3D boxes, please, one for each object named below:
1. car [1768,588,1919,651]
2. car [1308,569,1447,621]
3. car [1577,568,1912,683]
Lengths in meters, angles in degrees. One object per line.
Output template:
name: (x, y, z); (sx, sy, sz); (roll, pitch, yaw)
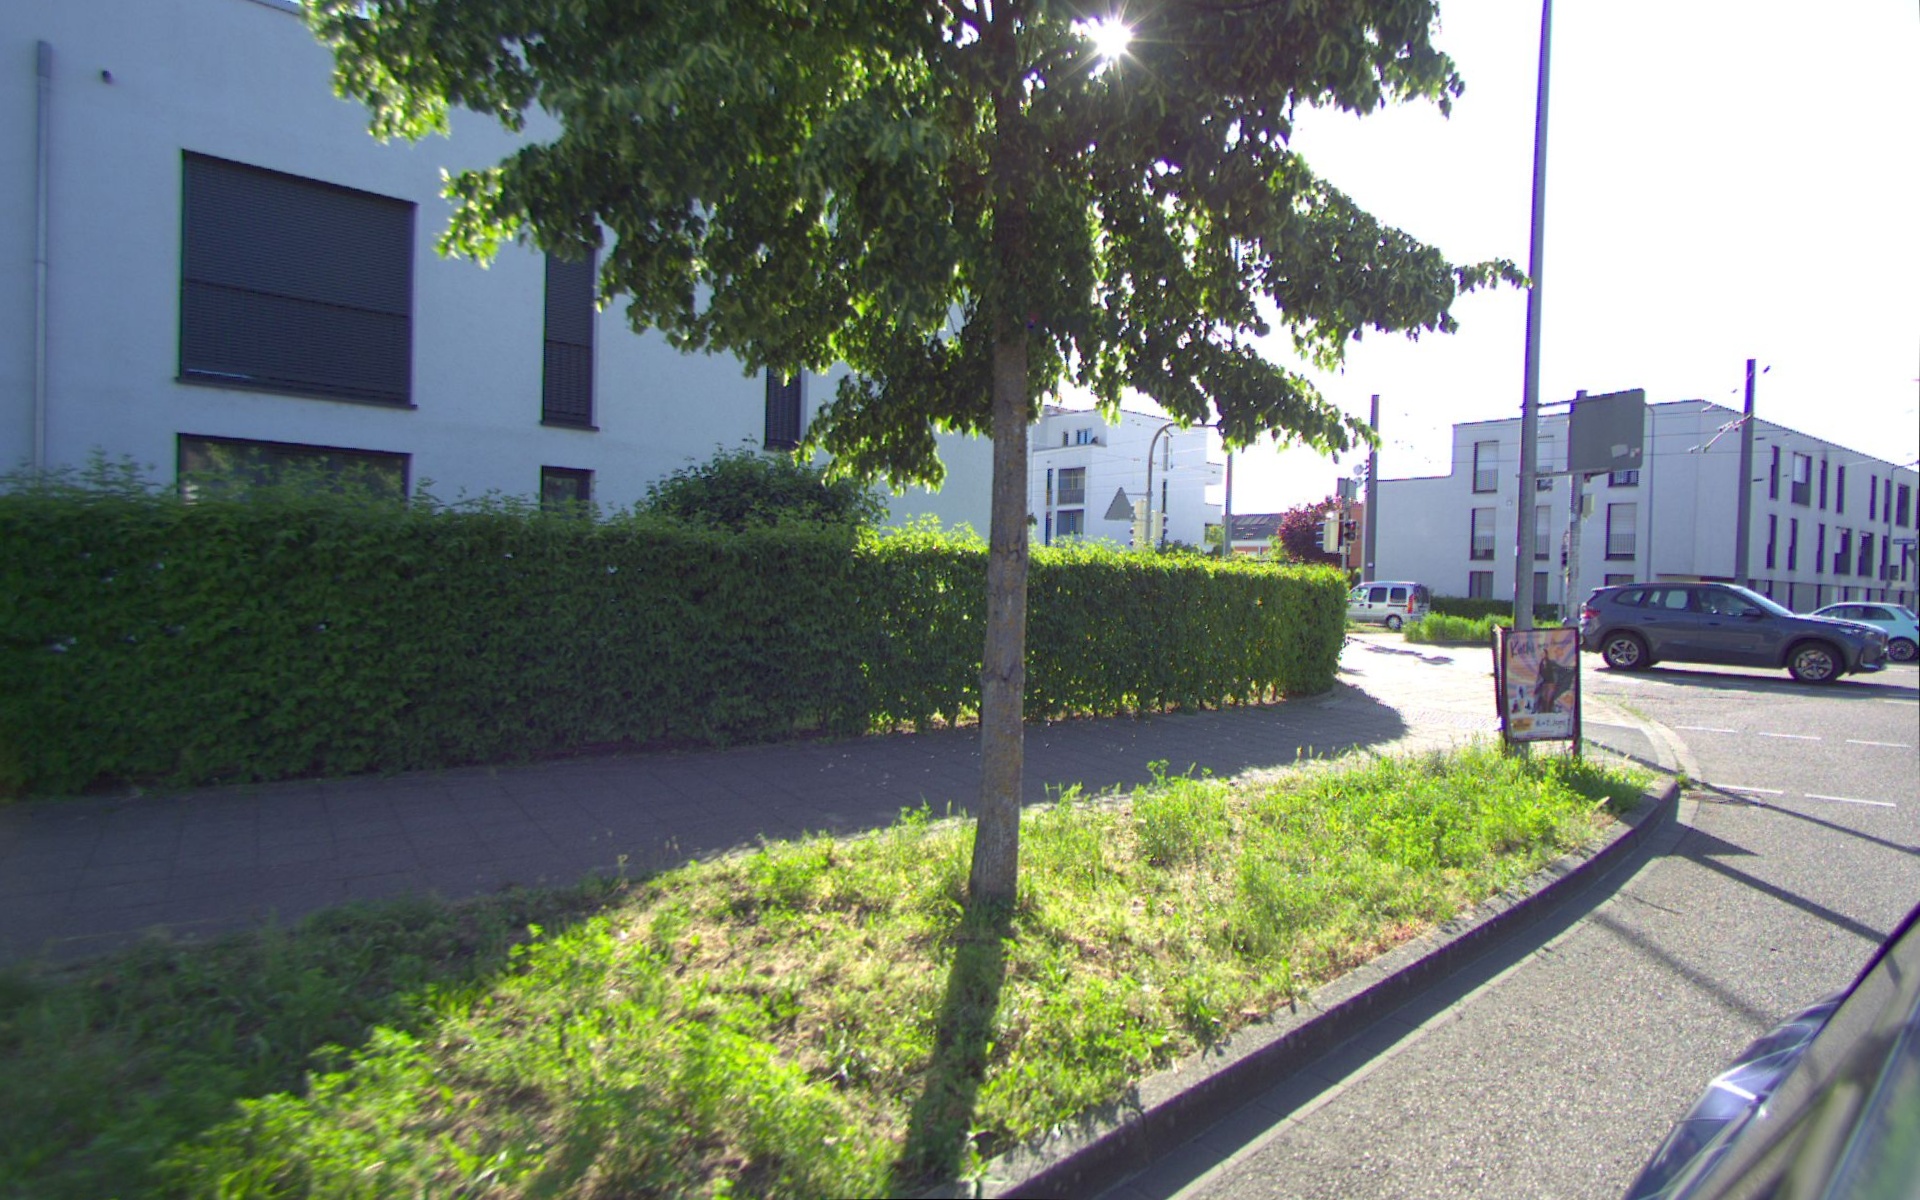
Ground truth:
car: (24.259, 0.522, 27.190); (1.962, 1.505, 3.544); (3, 0, -36)
car: (15.464, -0.221, 37.677); (1.962, 1.777, 4.362); (1, 2, -36)
car: (13.773, 0.325, 17.973); (1.966, 1.693, 4.401); (-2, 4, -42)
